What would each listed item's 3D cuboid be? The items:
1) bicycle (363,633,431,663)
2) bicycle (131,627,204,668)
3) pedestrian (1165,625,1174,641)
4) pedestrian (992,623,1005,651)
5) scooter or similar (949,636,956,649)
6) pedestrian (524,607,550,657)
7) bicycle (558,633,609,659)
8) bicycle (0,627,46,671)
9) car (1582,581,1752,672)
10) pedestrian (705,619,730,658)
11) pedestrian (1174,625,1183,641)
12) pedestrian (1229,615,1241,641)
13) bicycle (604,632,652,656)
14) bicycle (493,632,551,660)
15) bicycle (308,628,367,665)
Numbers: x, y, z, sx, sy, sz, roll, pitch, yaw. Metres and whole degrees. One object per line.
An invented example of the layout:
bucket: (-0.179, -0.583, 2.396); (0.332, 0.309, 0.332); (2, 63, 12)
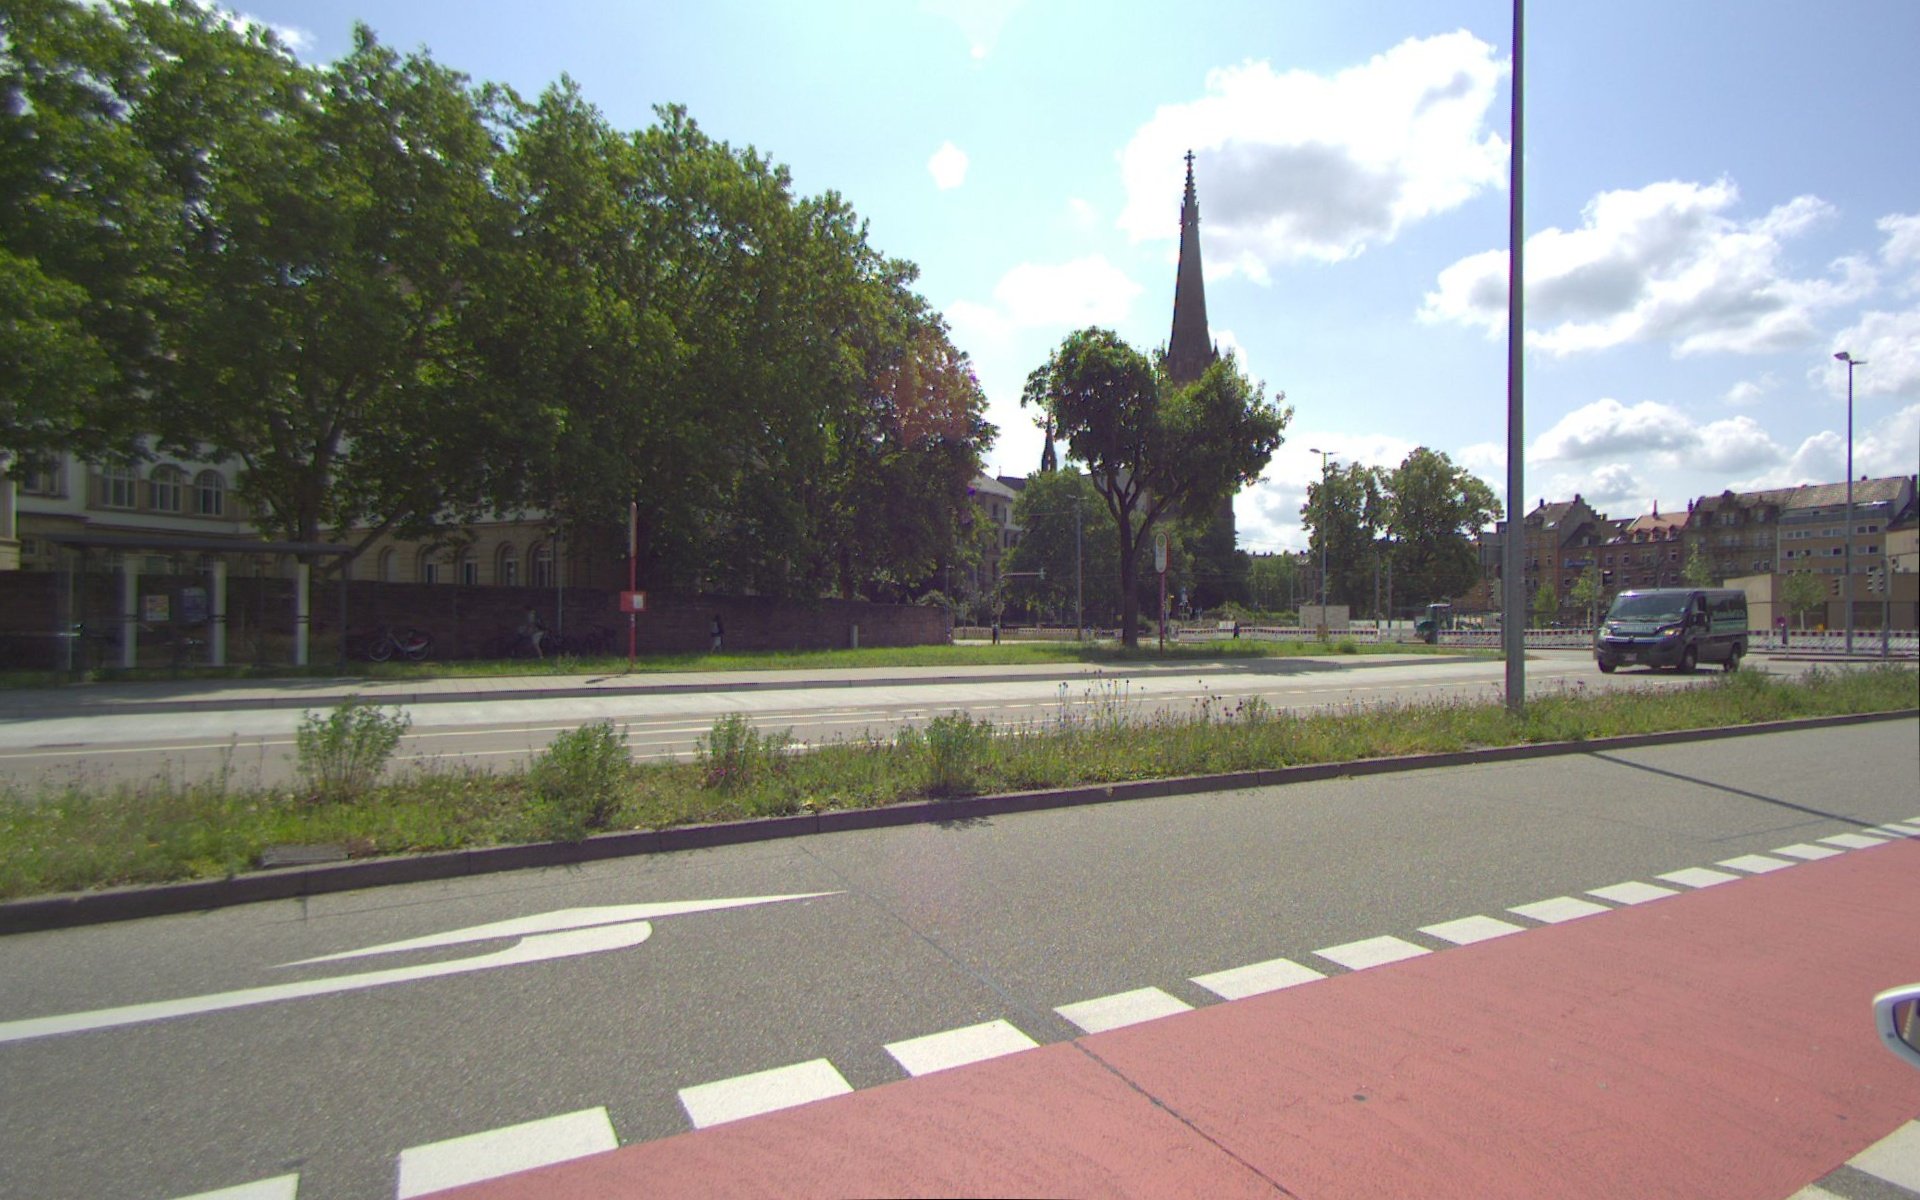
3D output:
bicycle: (-16.245, 1.380, 29.011); (0.324, 0.828, 1.743); (0, -1, 36)
bicycle: (-19.423, 1.157, 24.643); (0.260, 0.977, 1.391); (0, -1, 36)
pedestrian: (22.503, 3.529, 107.918); (0.842, 1.685, 0.751); (0, -1, 29)
pedestrian: (2.890, 2.724, 74.773); (0.713, 2.040, 0.721); (1, -1, -32)
scooter or similar: (-0.440, 2.480, 58.979); (0.117, 0.721, 1.005); (0, -1, 17)
pedestrian: (-12.578, 0.949, 29.889); (0.627, 1.492, 0.506); (1, -1, -32)
bicycle: (-12.785, 1.552, 34.152); (0.324, 0.828, 1.743); (0, -1, 36)
bicycle: (-21.262, 1.090, 22.323); (0.260, 0.977, 1.391); (0, -1, 36)
car: (18.883, 0.738, 26.766); (4.969, 2.204, 2.134); (1, -3, -35)
pedestrian: (-8.942, 1.398, 37.023); (0.720, 1.413, 0.714); (1, -1, -35)
pedestrian: (23.622, 3.590, 108.533); (0.842, 1.685, 0.751); (0, -1, 29)
pedestrian: (21.201, 2.159, 77.467); (0.625, 2.040, 0.643); (1, -1, -32)
bicycle: (-11.780, 1.543, 35.679); (0.324, 0.828, 1.743); (0, -1, 36)
bicycle: (-14.025, 1.463, 32.196); (0.378, 0.828, 1.743); (0, -1, 36)
bicycle: (-17.165, 1.265, 27.714); (0.260, 0.977, 1.391); (0, -1, 36)
